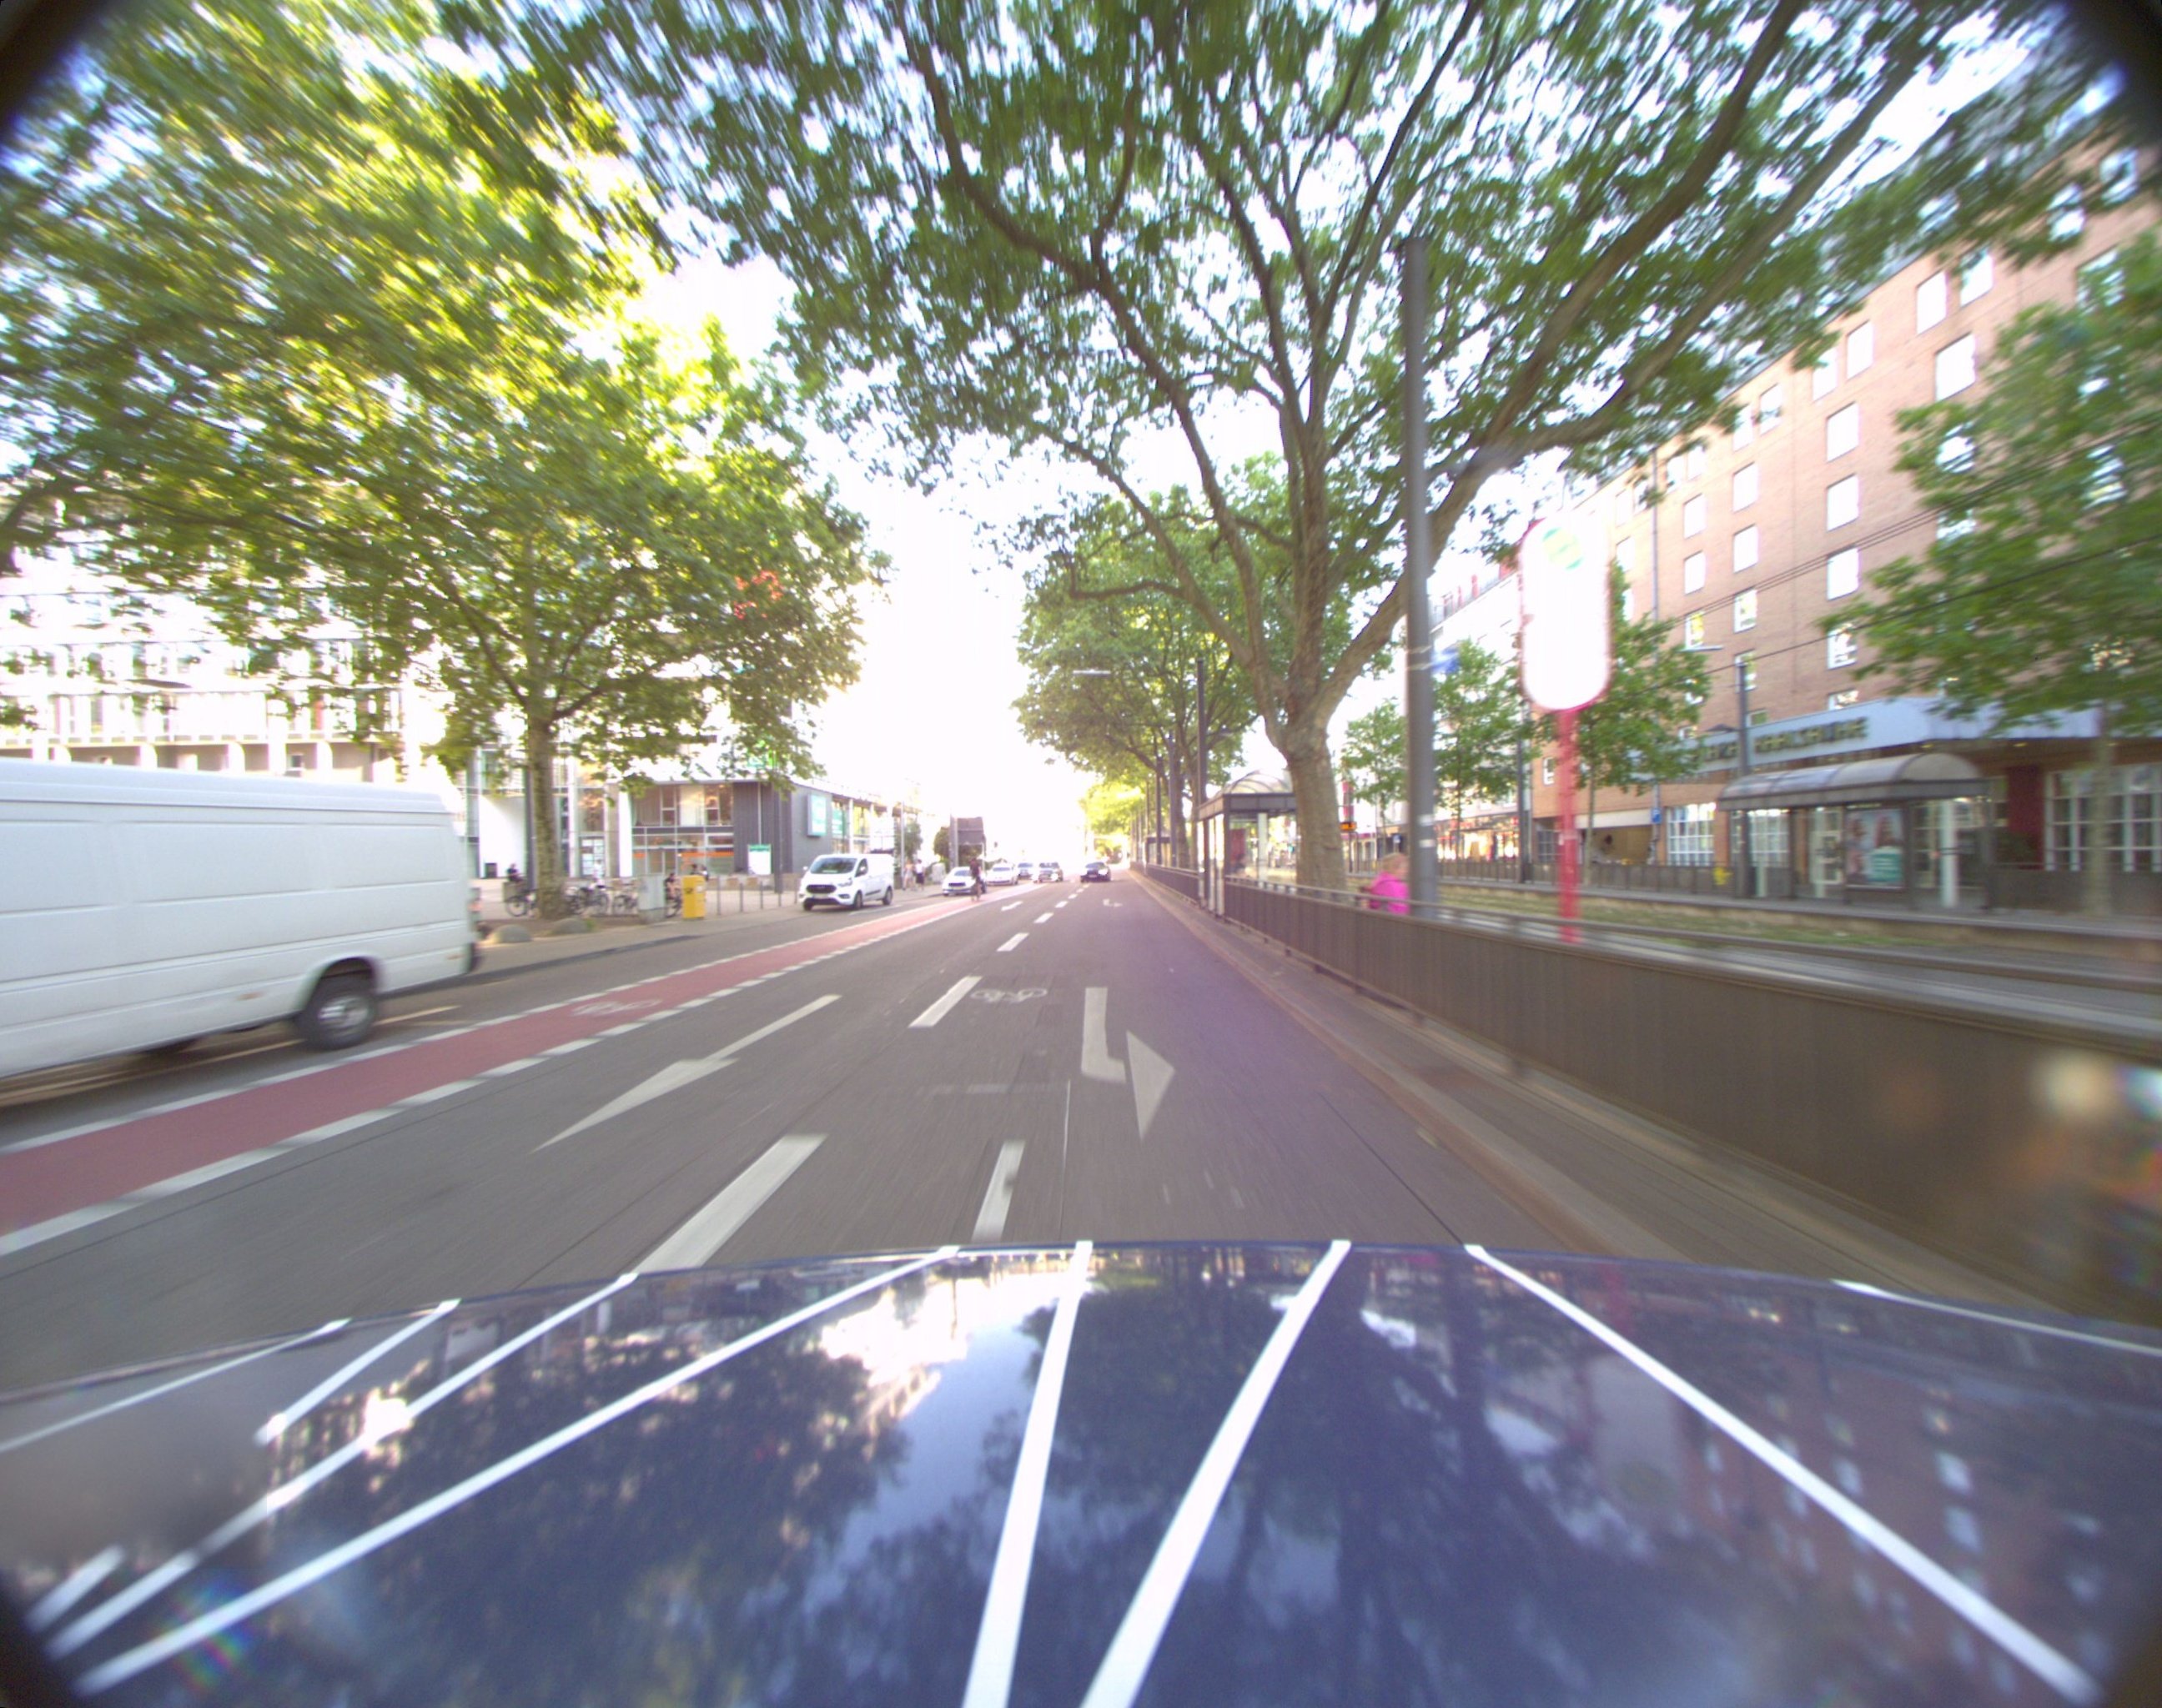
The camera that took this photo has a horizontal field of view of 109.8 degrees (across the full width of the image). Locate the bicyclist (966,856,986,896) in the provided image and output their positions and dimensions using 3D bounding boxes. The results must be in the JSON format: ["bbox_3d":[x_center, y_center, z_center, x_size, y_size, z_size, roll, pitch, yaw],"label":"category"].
[{"bbox_3d":[-4.461,0.917,32.309,0.752,1.678,0.714,-1,0,1],"label":"bicyclist"}]

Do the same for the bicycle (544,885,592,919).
[{"bbox_3d":[-15.940,1.474,23.643,0.460,0.953,1.510,0,0,1],"label":"bicycle"}]

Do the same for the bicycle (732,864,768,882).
[{"bbox_3d":[-19.957,1.123,45.806,1.879,1.057,0.700,0,0,1],"label":"bicycle"}]

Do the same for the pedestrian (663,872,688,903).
[{"bbox_3d":[-16.552,1.359,31.025,0.615,1.214,0.677,0,0,6],"label":"pedestrian"}]

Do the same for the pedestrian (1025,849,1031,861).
[{"bbox_3d":[-6.998,0.165,100.632,0.692,1.573,0.664,1,1,3],"label":"pedestrian"}]

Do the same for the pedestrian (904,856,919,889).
[{"bbox_3d":[-9.408,1.026,42.292,0.591,1.798,0.896,0,1,2],"label":"pedestrian"}]

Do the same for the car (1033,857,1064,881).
[{"bbox_3d":[-2.364,1.089,56.597,1.785,1.628,4.023,-1,0,5],"label":"car"}]

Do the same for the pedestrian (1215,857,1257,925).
[{"bbox_3d":[3.262,0.763,16.053,0.735,1.379,0.640,-2,1,4],"label":"pedestrian"}]

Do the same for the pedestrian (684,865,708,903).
[{"bbox_3d":[-15.392,1.194,30.417,0.577,1.534,0.638,0,0,9],"label":"pedestrian"}]

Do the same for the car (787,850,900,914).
[{"bbox_3d":[-8.619,0.951,28.225,2.127,2.121,5.291,-1,0,5],"label":"car"}]

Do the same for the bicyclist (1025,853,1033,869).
[{"bbox_3d":[-5.746,0.804,84.053,0.743,1.752,1.209,2,1,3],"label":"bicyclist"}]

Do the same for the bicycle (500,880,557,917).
[{"bbox_3d":[-17.322,1.369,23.846,0.459,1.071,1.511,-1,0,11],"label":"bicycle"}]

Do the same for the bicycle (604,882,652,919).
[{"bbox_3d":[-13.915,1.404,23.396,0.460,1.023,1.627,-1,0,1],"label":"bicycle"}]

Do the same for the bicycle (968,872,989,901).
[{"bbox_3d":[-4.319,1.365,32.232,0.551,1.114,2.127,-1,0,1],"label":"bicycle"}]

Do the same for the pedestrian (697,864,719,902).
[{"bbox_3d":[-15.294,1.184,31.155,0.516,1.514,0.636,0,0,9],"label":"pedestrian"}]

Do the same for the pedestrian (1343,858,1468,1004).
[{"bbox_3d":[3.313,0.767,7.819,0.979,1.392,0.664,-2,1,4],"label":"pedestrian"}]

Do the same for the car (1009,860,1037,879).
[{"bbox_3d":[-5.032,1.311,66.539,1.998,1.586,4.000,-1,0,2],"label":"car"}]

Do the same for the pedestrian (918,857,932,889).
[{"bbox_3d":[-8.674,1.044,42.209,0.564,1.798,0.891,0,1,2],"label":"pedestrian"}]

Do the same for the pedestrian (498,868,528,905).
[{"bbox_3d":[-22.504,1.280,30.115,0.712,1.447,0.601,-1,0,2],"label":"pedestrian"}]

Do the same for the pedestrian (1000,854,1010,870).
[{"bbox_3d":[-7.647,0.823,76.493,0.753,1.565,0.912,-1,1,5],"label":"pedestrian"}]

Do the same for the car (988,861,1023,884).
[{"bbox_3d":[-5.236,1.266,53.086,1.670,1.455,3.870,-1,0,5],"label":"car"}]

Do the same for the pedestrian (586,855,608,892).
[{"bbox_3d":[-22.413,0.900,35.198,0.539,1.666,0.723,0,1,2],"label":"pedestrian"}]

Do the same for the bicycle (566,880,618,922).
[{"bbox_3d":[-15.171,1.441,23.603,0.460,1.172,1.719,0,0,1],"label":"bicycle"}]

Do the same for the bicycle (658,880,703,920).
[{"bbox_3d":[-12.270,1.390,23.293,0.514,1.151,1.539,-1,0,1],"label":"bicycle"}]

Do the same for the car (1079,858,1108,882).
[{"bbox_3d":[0.833,1.050,51.584,1.827,1.416,4.346,-2,0,0],"label":"car"}]

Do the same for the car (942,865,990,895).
[{"bbox_3d":[-6.001,1.351,40.181,1.785,1.411,4.022,-1,0,2],"label":"car"}]

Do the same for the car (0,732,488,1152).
[{"bbox_3d":[-7.963,0.600,5.465,1.998,2.708,6.562,-2,0,1],"label":"car"}]
